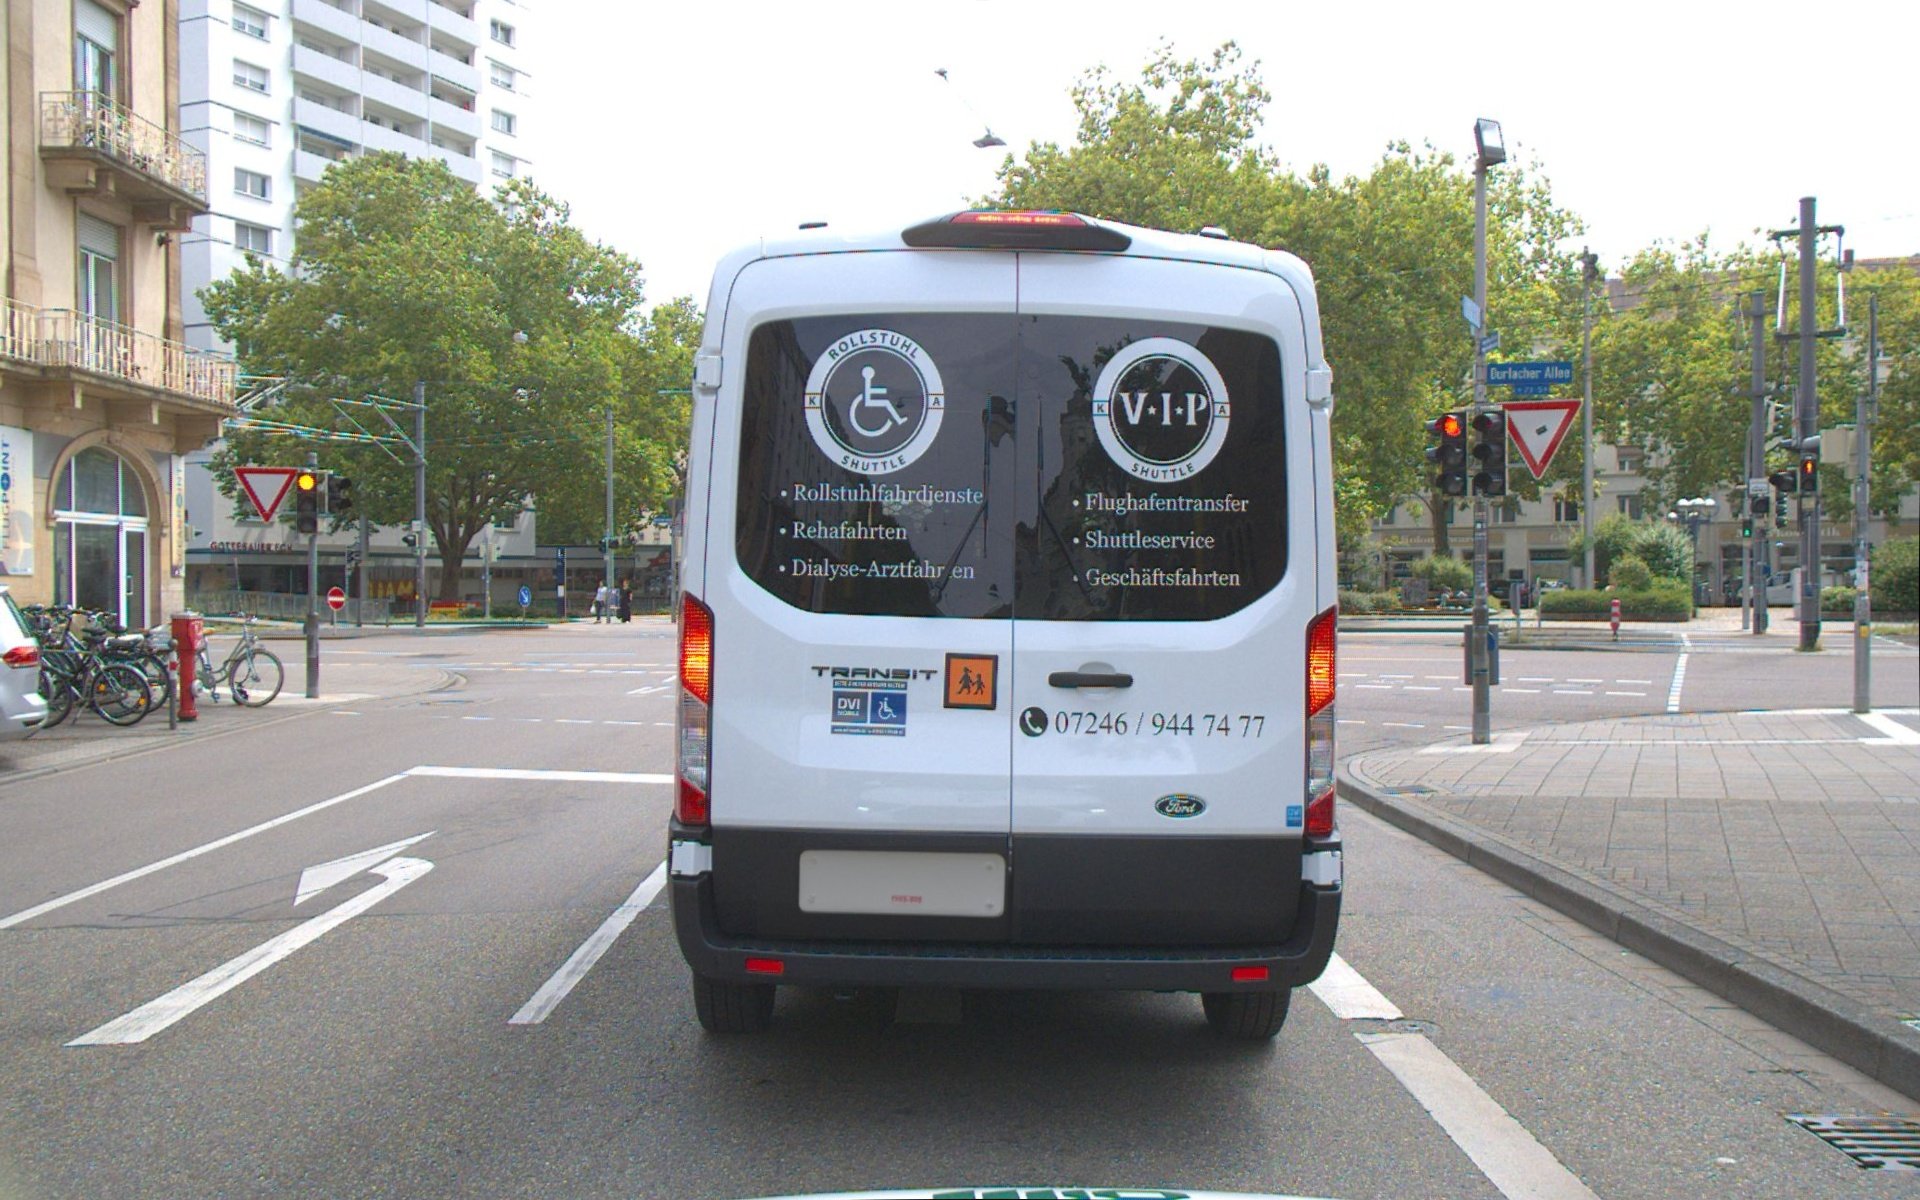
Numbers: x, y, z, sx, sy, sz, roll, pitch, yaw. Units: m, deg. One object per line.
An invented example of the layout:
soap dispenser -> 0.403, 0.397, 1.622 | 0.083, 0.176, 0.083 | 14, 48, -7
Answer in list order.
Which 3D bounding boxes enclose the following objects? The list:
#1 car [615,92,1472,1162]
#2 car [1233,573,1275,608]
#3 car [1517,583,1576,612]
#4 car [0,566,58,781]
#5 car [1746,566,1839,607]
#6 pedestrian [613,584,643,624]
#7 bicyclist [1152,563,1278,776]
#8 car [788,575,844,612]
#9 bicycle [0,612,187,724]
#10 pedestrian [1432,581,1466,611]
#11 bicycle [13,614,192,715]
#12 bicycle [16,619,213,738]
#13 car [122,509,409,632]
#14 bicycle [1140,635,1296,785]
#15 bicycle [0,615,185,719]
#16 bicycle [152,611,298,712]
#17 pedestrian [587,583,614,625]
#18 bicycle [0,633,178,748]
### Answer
car -> 0.141, 0.039, 6.562 | 2.138, 2.694, 4.627 | 2, 1, -2
car -> 17.038, -0.538, 95.925 | 1.951, 1.964, 4.002 | -1, 0, 4
car -> 31.676, -0.142, 89.428 | 1.951, 1.529, 4.002 | -1, 1, 4
car -> -9.804, 0.638, 13.573 | 3.974, 1.804, 1.771 | -1, 1, -40
car -> 40.175, -0.660, 79.934 | 3.907, 1.915, 1.857 | -1, 0, 24
pedestrian -> -12.757, 0.155, 63.619 | 0.910, 1.541, 0.724 | 0, 0, 14
bicyclist -> 2.109, 0.554, 13.747 | 0.886, 1.713, 0.756 | 0, 0, -4
car -> -6.180, -0.296, 71.171 | 1.586, 1.502, 4.003 | -1, 1, 7
bicycle -> -9.701, 0.752, 18.511 | 1.775, 1.186, 0.593 | 2, 0, -9
pedestrian -> 21.142, -0.158, 71.484 | 1.068, 1.257, 1.441 | -2, 0, 4
bicycle -> -10.247, 0.770, 19.811 | 1.775, 1.140, 0.593 | 2, 0, -9
bicycle -> -9.075, 0.833, 17.782 | 1.771, 1.140, 0.594 | 3, 0, 3
car -> -24.043, -0.971, 57.171 | 9.686, 3.983, 3.454 | 0, 1, 24
bicycle -> 2.112, 0.873, 13.820 | 0.885, 1.093, 1.969 | 0, 1, -3
bicycle -> -10.039, 0.769, 19.174 | 1.775, 1.140, 0.593 | 2, 0, -9
bicycle -> -9.314, 0.760, 20.943 | 1.836, 1.187, 0.498 | 2, 0, 20
pedestrian -> -13.851, 0.151, 63.711 | 0.790, 1.600, 0.724 | 0, 0, 13
bicycle -> -9.113, 0.931, 17.111 | 1.771, 1.140, 0.594 | -1, 0, 6
